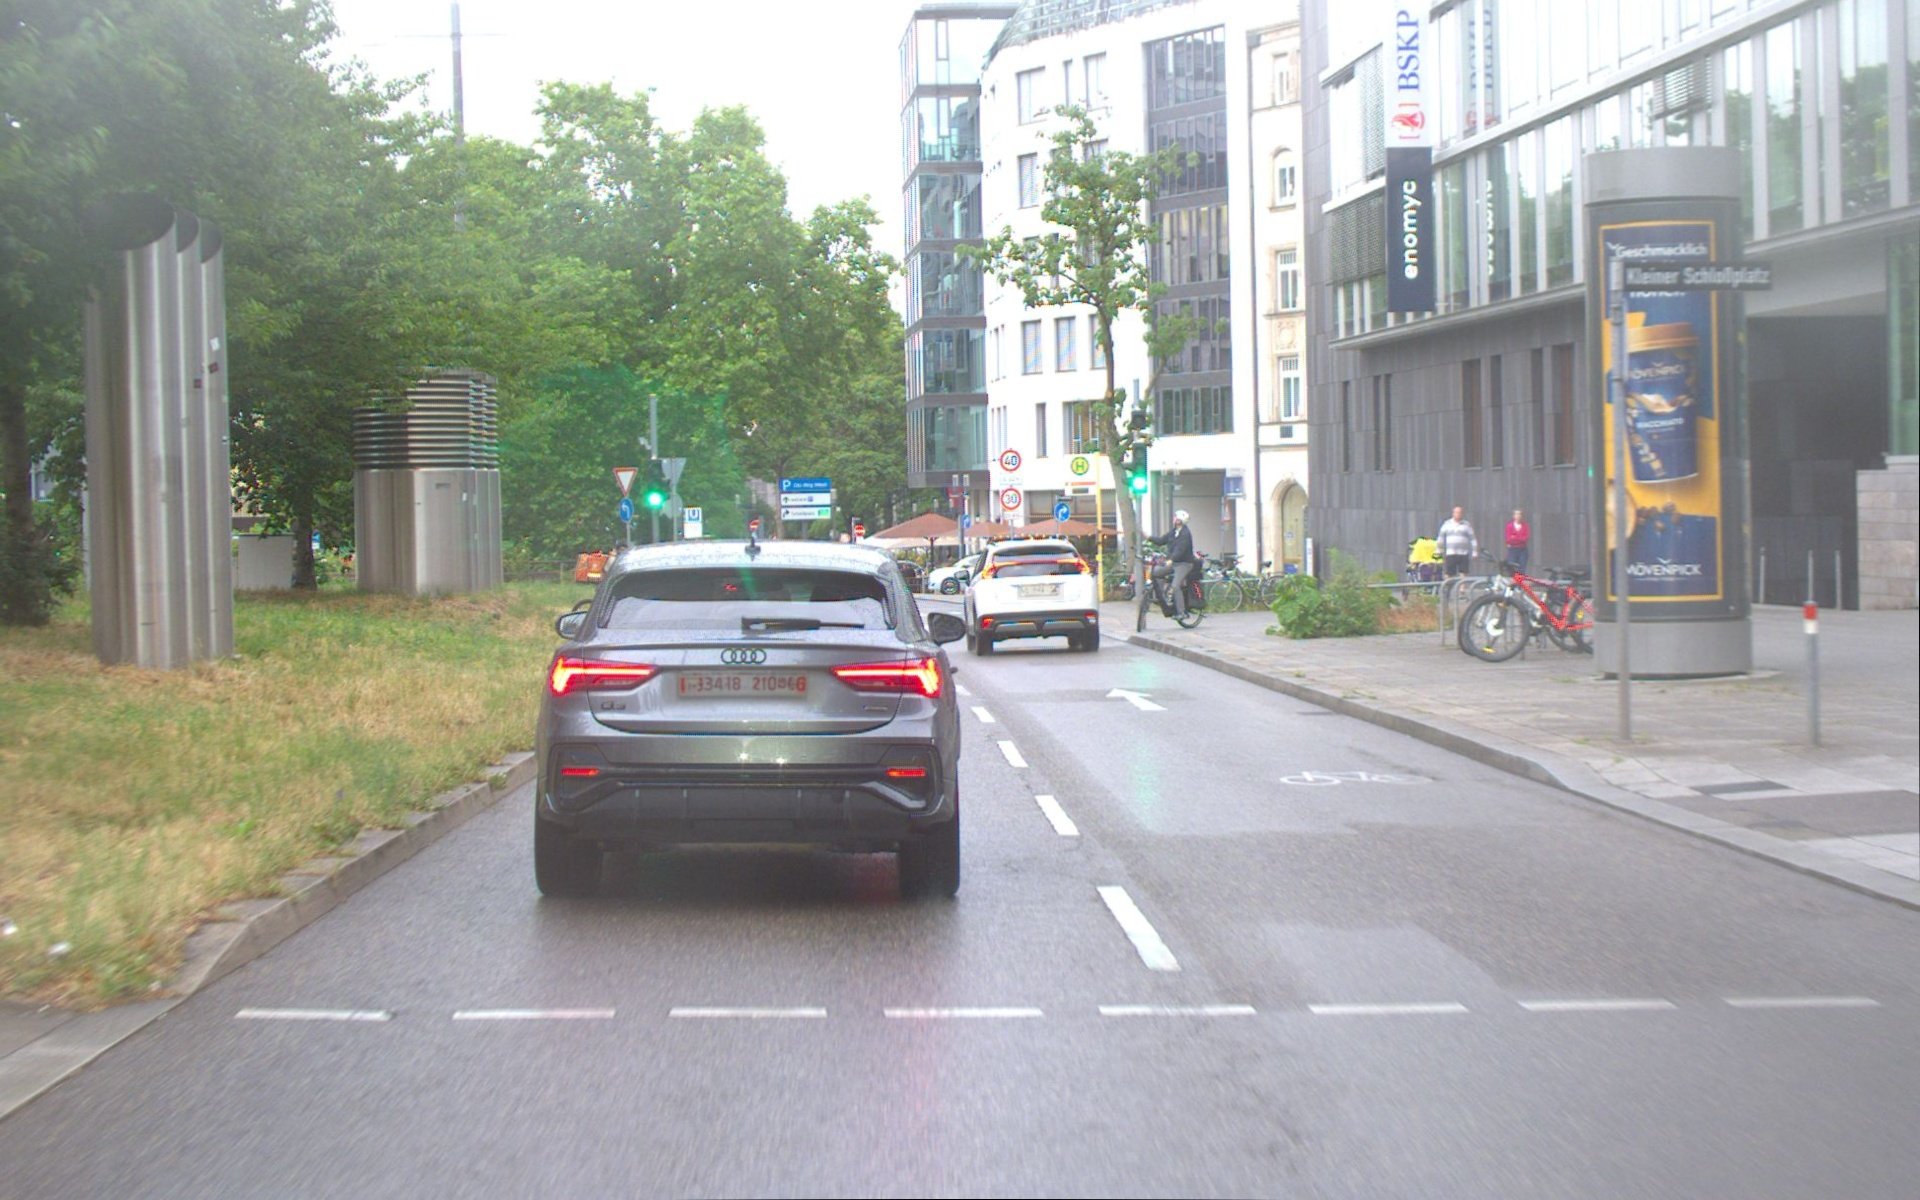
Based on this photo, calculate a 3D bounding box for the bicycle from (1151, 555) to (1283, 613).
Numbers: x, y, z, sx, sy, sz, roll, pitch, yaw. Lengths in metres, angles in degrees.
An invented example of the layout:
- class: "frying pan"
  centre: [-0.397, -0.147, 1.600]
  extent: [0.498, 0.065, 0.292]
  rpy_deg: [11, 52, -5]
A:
- class: "bicycle"
  centre: [5.184, -0.323, 69.409]
  extent: [2.535, 1.083, 0.677]
  rpy_deg: [-2, 0, -4]

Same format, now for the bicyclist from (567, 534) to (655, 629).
- class: "bicyclist"
  centre: [-5.918, -0.310, 58.357]
  extent: [1.133, 1.577, 1.014]
  rpy_deg: [1, 0, 20]

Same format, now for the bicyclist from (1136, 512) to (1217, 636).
- class: "bicyclist"
  centre: [3.700, -0.438, 58.666]
  extent: [1.082, 2.076, 0.763]
  rpy_deg: [-2, 0, -37]

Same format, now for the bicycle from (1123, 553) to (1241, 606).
- class: "bicycle"
  centre: [4.940, -0.465, 76.562]
  extent: [2.535, 1.083, 0.677]
  rpy_deg: [-2, 0, -4]

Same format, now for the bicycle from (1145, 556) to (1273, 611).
- class: "bicycle"
  centre: [5.142, -0.344, 71.037]
  extent: [2.535, 1.056, 0.677]
  rpy_deg: [-2, 0, -4]

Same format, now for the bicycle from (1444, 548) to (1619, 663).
- class: "bicycle"
  centre: [6.414, 0.059, 38.672]
  extent: [1.836, 1.193, 0.660]
  rpy_deg: [-2, 1, 4]

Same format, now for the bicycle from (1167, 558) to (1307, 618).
- class: "bicycle"
  centre: [5.225, -0.225, 64.955]
  extent: [2.535, 1.053, 0.677]
  rpy_deg: [-2, 1, -4]

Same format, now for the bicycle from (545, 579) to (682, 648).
- class: "bicycle"
  centre: [-5.874, 0.226, 58.326]
  extent: [2.063, 1.110, 1.011]
  rpy_deg: [1, 0, 20]

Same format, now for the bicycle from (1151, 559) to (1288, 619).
- class: "bicycle"
  centre: [5.003, -0.224, 66.436]
  extent: [2.535, 1.083, 0.677]
  rpy_deg: [-2, 1, -4]

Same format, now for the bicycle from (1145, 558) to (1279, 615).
- class: "bicycle"
  centre: [4.927, -0.272, 67.240]
  extent: [2.535, 1.083, 0.677]
  rpy_deg: [0, 0, -4]

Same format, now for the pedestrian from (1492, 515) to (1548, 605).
- class: "pedestrian"
  centre: [10.781, -0.767, 66.222]
  extent: [0.718, 1.684, 1.100]
  rpy_deg: [-4, 1, -5]

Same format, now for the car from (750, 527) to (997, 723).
- class: "car"
  centre: [-0.887, 0.188, 32.731]
  extent: [2.162, 1.700, 4.554]
  rpy_deg: [-1, 1, -3]

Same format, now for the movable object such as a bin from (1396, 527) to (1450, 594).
- class: "movable object such as a bin"
  centre: [9.088, -0.784, 67.539]
  extent: [0.731, 1.259, 1.444]
  rpy_deg: [-4, 1, -2]

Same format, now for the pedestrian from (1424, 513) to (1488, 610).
- class: "pedestrian"
  centre: [9.545, -0.739, 66.190]
  extent: [0.900, 1.786, 1.047]
  rpy_deg: [-4, 1, -5]

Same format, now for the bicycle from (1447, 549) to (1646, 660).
- class: "bicycle"
  centre: [6.271, 0.042, 36.819]
  extent: [1.984, 1.100, 0.808]
  rpy_deg: [-2, 1, 4]

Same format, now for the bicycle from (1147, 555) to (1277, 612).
- class: "bicycle"
  centre: [5.136, -0.335, 70.128]
  extent: [2.535, 1.083, 0.677]
  rpy_deg: [-2, 0, -4]

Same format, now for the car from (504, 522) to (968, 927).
- class: "car"
  centre: [-0.898, 0.456, 15.986]
  extent: [1.848, 1.610, 4.253]
  rpy_deg: [-1, 1, 0]

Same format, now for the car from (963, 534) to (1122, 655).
- class: "car"
  centre: [1.177, -0.110, 50.944]
  extent: [2.179, 1.695, 4.000]
  rpy_deg: [-1, 1, -1]

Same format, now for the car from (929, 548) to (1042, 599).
- class: "car"
  centre: [0.915, -0.987, 125.155]
  extent: [3.987, 1.641, 2.000]
  rpy_deg: [3, 1, -1]

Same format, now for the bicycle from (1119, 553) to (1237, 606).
- class: "bicycle"
  centre: [4.896, -0.460, 77.310]
  extent: [2.535, 1.083, 0.677]
  rpy_deg: [-2, 0, -4]

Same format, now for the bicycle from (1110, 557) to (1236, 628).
- class: "bicycle"
  centre: [3.632, -0.129, 58.604]
  extent: [2.126, 1.141, 0.763]
  rpy_deg: [-2, 0, -37]

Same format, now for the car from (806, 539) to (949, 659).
- class: "car"
  centre: [-1.156, -0.048, 50.086]
  extent: [1.945, 1.641, 4.245]
  rpy_deg: [-1, 1, 0]
